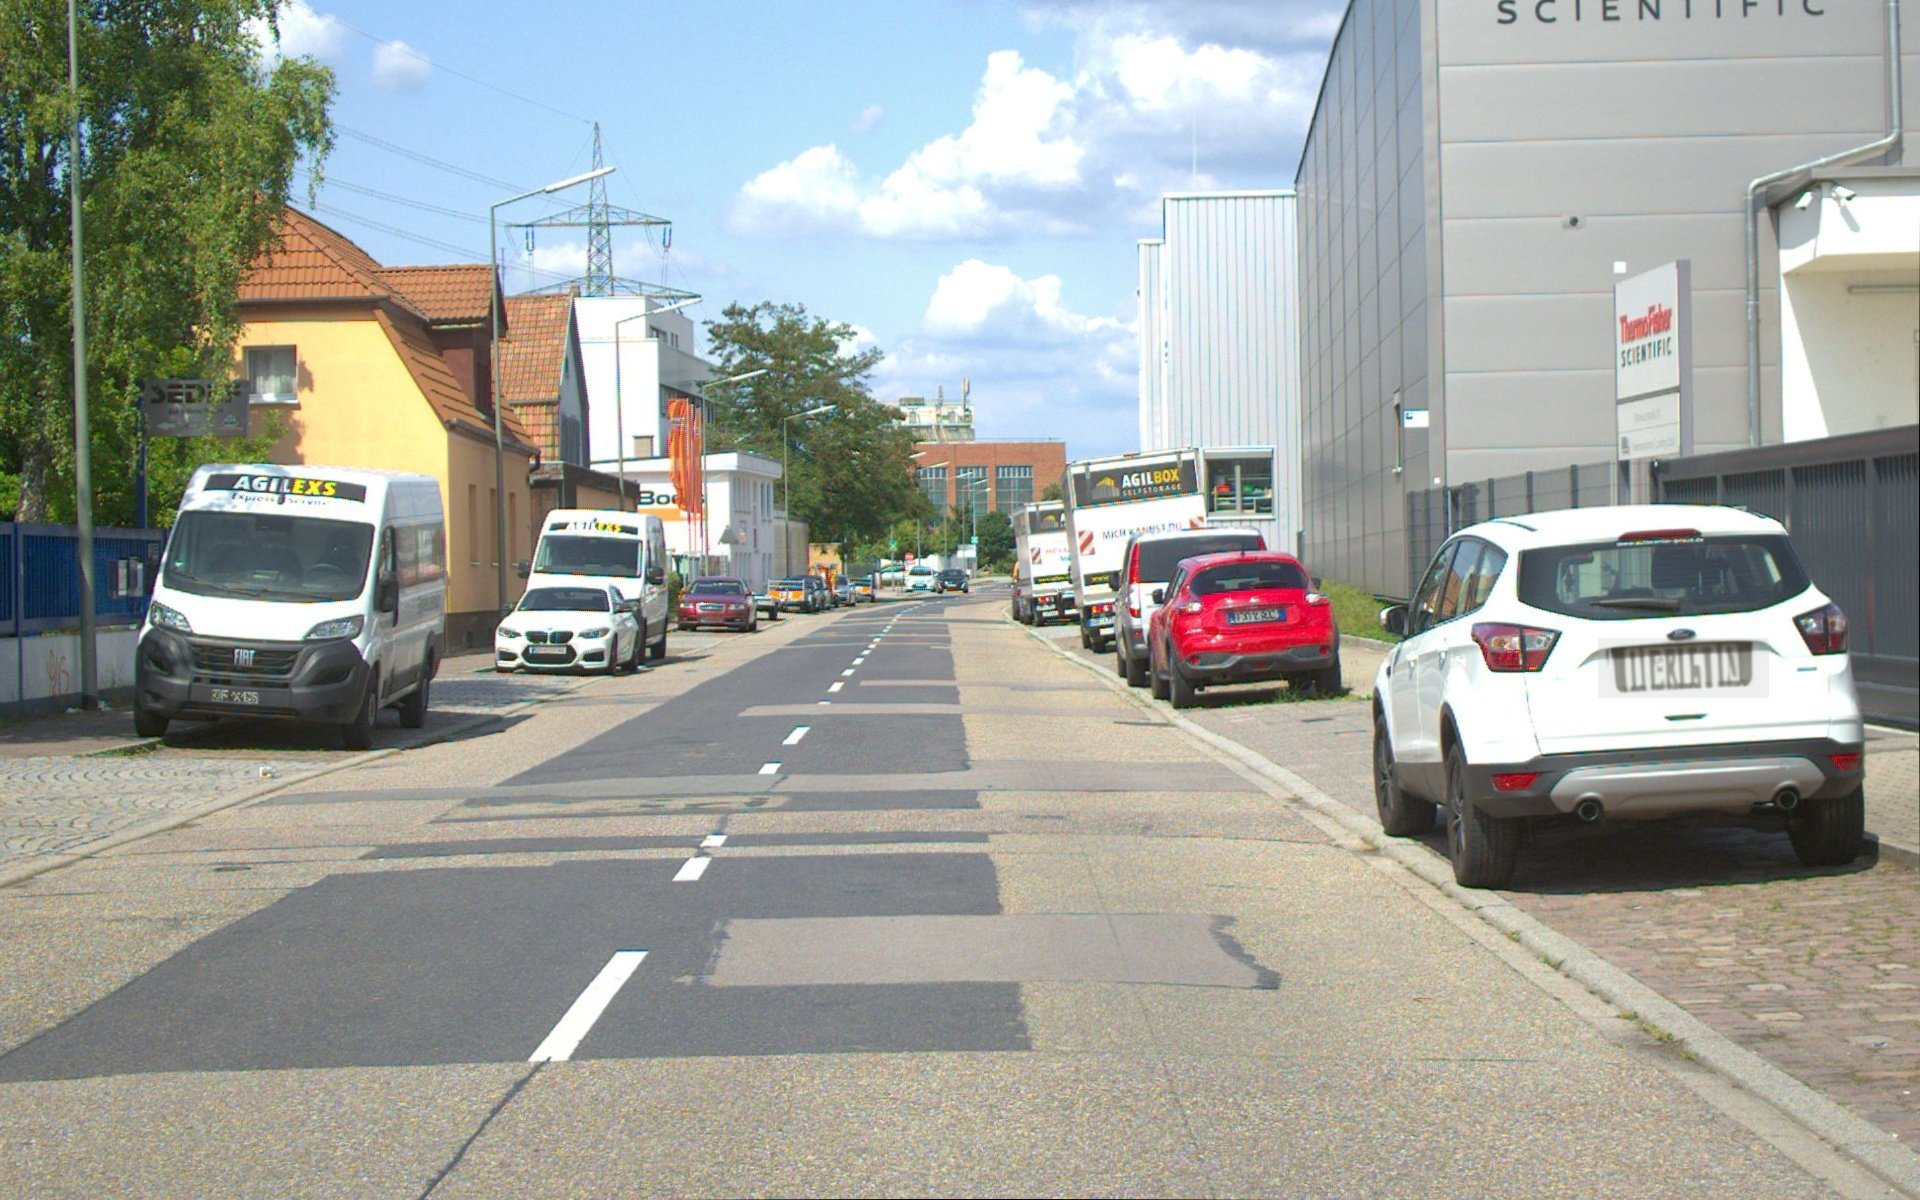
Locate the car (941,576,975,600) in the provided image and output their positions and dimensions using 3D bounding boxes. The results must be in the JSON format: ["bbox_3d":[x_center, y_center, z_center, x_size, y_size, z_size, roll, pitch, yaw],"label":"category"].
[{"bbox_3d":[-0.139,-0.694,200.704,1.918,1.280,3.615,-2,1,0],"label":"car"}]

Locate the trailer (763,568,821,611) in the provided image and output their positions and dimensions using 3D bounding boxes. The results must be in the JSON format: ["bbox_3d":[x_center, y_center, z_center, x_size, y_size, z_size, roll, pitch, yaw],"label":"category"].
[{"bbox_3d":[-6.391,-0.419,130.893,1.993,1.551,4.253,-1,1,0],"label":"trailer"}]

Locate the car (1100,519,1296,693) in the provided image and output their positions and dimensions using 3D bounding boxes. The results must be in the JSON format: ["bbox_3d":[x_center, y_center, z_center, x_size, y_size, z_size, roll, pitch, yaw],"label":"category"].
[{"bbox_3d":[2.941,0.037,43.518,2.054,1.897,5.147,-5,1,1],"label":"car"}]

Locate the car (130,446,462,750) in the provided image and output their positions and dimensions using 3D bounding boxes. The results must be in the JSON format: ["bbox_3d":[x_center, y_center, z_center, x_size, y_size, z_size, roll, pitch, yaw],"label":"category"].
[{"bbox_3d":[-6.116,-0.033,32.483,2.030,2.549,6.658,1,0,-2],"label":"car"}]

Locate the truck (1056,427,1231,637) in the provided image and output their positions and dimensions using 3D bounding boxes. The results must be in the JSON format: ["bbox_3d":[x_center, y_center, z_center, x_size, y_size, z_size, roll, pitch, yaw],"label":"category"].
[{"bbox_3d":[3.174,-1.172,61.161,2.458,3.282,6.817,-6,0,0],"label":"truck"}]

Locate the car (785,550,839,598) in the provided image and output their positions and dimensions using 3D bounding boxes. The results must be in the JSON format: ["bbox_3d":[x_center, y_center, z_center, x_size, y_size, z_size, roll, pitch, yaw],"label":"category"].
[{"bbox_3d":[-6.299,-1.112,146.458,1.994,2.007,4.000,0,0,2],"label":"car"}]

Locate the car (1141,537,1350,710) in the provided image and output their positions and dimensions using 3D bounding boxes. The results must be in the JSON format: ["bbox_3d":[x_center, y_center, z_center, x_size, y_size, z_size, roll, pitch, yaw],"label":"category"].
[{"bbox_3d":[2.993,0.229,36.727,1.704,1.619,4.093,-4,0,-1],"label":"car"}]

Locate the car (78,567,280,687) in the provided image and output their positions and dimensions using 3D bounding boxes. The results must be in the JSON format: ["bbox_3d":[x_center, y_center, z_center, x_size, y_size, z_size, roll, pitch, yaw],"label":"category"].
[{"bbox_3d":[-11.556,0.366,51.126,1.866,1.458,4.143,-3,3,2],"label":"car"}]

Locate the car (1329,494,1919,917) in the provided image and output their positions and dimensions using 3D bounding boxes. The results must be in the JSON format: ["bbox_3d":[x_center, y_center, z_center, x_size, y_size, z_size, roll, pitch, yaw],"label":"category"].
[{"bbox_3d":[3.123,0.415,17.117,1.935,1.687,4.680,-4,1,0],"label":"car"}]

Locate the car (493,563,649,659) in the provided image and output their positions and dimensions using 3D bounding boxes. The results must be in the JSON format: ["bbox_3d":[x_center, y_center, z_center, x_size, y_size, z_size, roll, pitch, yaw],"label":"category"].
[{"bbox_3d":[-5.861,0.148,52.237,1.796,1.392,4.501,0,0,1],"label":"car"}]

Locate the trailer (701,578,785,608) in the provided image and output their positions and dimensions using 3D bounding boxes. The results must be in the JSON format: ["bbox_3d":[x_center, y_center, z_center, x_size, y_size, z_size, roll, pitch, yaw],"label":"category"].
[{"bbox_3d":[-6.907,-0.232,109.870,2.362,0.890,5.569,1,0,0],"label":"trailer"}]

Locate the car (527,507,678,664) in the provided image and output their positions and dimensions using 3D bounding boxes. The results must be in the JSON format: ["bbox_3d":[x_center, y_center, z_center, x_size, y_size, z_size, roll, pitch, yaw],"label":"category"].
[{"bbox_3d":[-6.107,-0.250,59.459,2.026,2.552,6.840,0,0,-1],"label":"car"}]

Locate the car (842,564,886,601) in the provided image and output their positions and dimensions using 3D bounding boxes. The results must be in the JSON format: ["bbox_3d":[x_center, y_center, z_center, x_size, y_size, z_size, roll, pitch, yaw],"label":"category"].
[{"bbox_3d":[-4.732,-0.878,169.917,1.922,1.788,4.000,0,0,2],"label":"car"}]

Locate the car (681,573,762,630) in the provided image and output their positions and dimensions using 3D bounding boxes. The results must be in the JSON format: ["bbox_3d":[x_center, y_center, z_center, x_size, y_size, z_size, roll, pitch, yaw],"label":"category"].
[{"bbox_3d":[-6.286,0.032,90.979,1.762,1.442,4.741,1,0,0],"label":"car"}]

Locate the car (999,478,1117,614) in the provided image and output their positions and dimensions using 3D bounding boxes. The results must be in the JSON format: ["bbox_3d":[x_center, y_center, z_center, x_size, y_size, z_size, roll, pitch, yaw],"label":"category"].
[{"bbox_3d":[2.576,-1.420,92.177,2.388,3.351,6.646,-4,0,-3],"label":"car"}]

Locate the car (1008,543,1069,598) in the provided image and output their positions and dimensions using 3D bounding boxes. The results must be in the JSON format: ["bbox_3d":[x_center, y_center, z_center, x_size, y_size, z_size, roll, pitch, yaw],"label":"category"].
[{"bbox_3d":[2.387,-0.880,104.792,1.768,1.607,3.873,-1,0,1],"label":"car"}]
